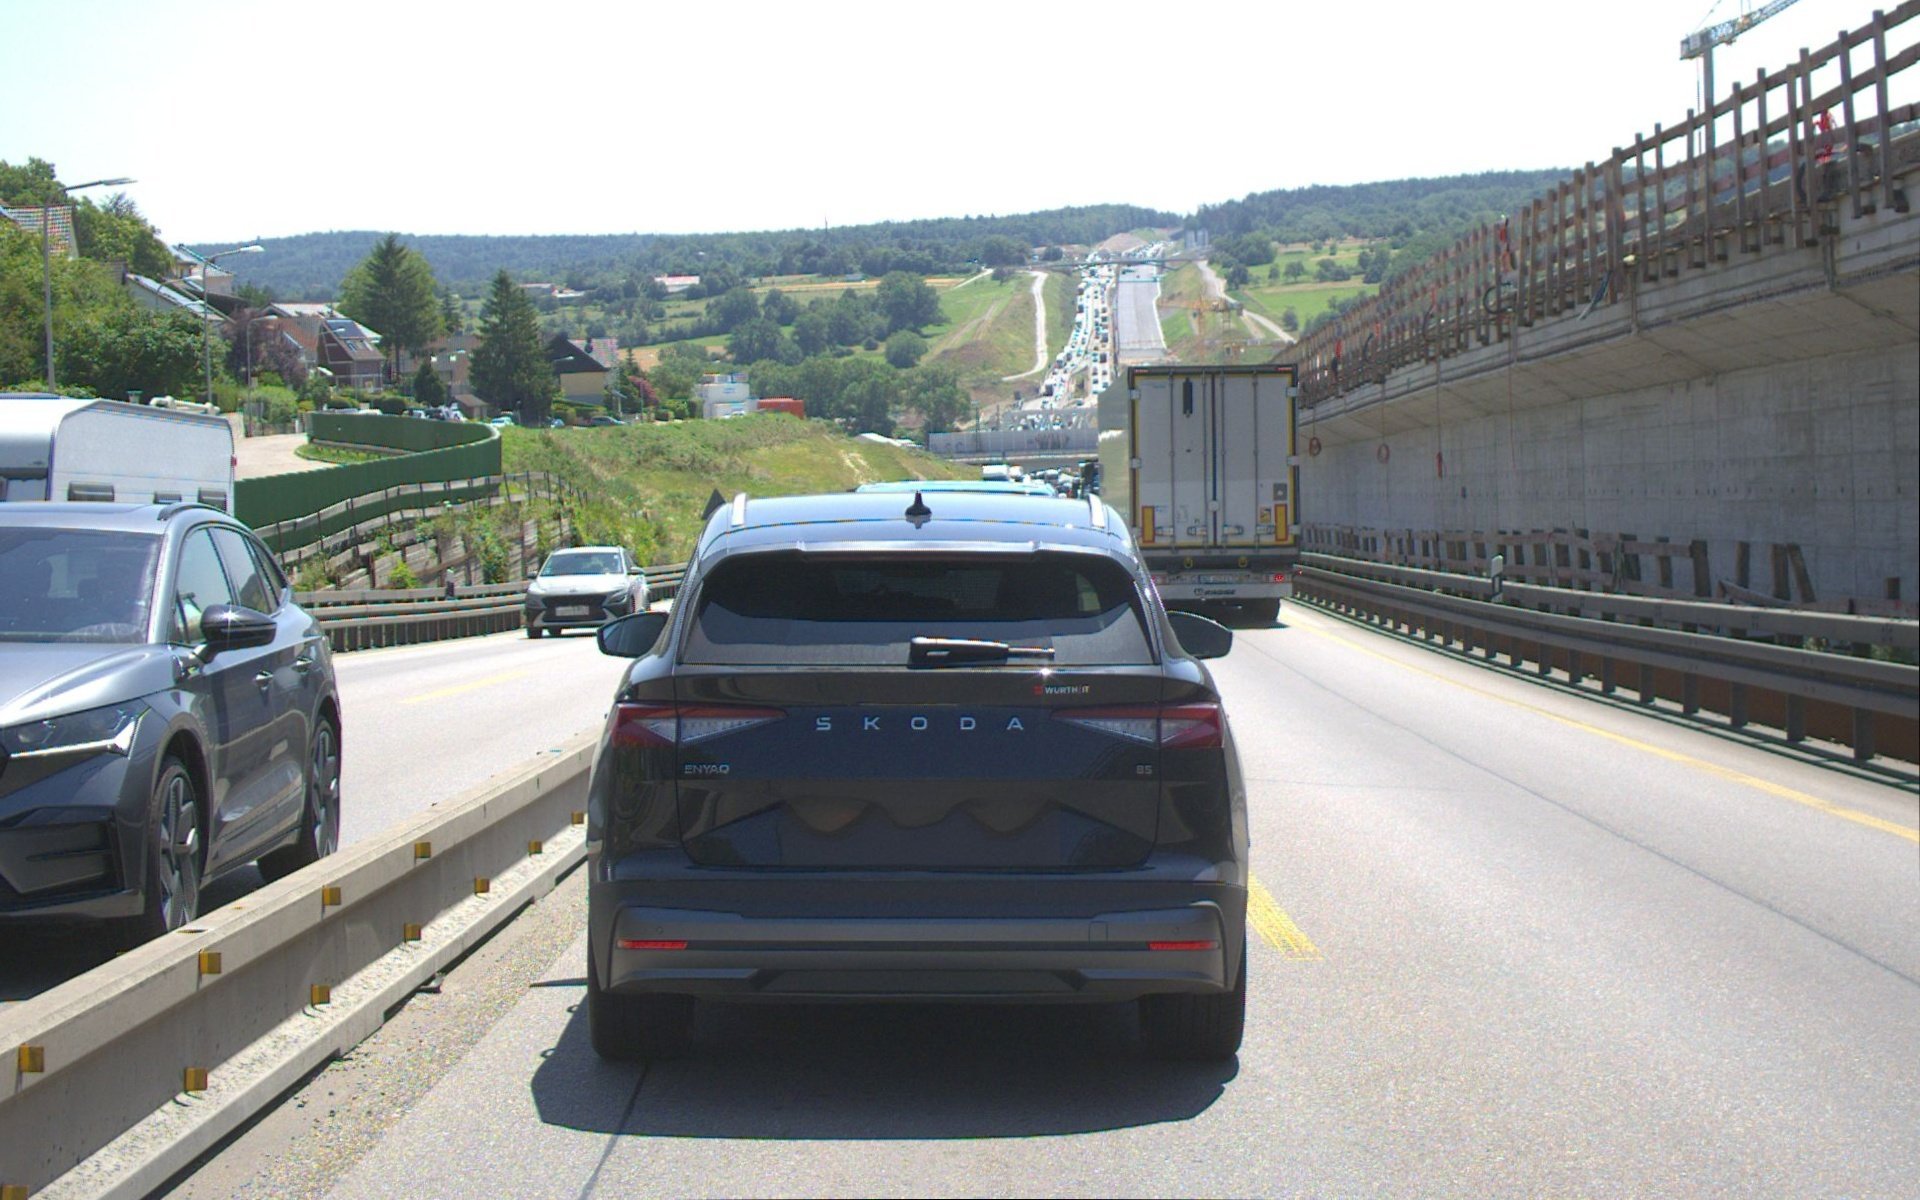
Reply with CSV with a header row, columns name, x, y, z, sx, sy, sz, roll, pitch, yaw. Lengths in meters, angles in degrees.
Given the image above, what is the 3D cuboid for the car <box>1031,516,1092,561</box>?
name,x,y,z,sx,sy,sz,roll,pitch,yaw
car,3.690,-2.225,125.639,1.993,1.579,3.836,0,0,-2

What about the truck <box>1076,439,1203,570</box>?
name,x,y,z,sx,sy,sz,roll,pitch,yaw
truck,4.732,-2.456,92.805,3.195,3.180,12.808,0,0,2

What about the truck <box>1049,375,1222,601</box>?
name,x,y,z,sx,sy,sz,roll,pitch,yaw
truck,3.232,-2.002,65.381,2.513,4.011,8.238,0,0,-2

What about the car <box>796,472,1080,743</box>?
name,x,y,z,sx,sy,sz,roll,pitch,yaw
car,-0.246,-0.003,25.955,1.706,1.875,4.001,0,2,-6

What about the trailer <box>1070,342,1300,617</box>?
name,x,y,z,sx,sy,sz,roll,pitch,yaw
trailer,3.569,-1.815,57.487,2.531,4.113,11.549,0,0,-3

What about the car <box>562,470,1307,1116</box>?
name,x,y,z,sx,sy,sz,roll,pitch,yaw
car,-0.270,0.475,10.454,1.842,1.581,3.908,0,0,-6

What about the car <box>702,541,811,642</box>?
name,x,y,z,sx,sy,sz,roll,pitch,yaw
car,-3.200,-0.128,54.561,1.547,1.543,3.238,0,0,0

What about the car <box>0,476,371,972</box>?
name,x,y,z,sx,sy,sz,roll,pitch,yaw
car,-3.562,0.387,13.206,1.872,1.581,4.479,0,0,-1

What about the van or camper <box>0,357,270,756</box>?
name,x,y,z,sx,sy,sz,roll,pitch,yaw
van or camper,-6.828,-0.288,24.811,2.354,2.507,6.328,0,0,0

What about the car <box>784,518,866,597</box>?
name,x,y,z,sx,sy,sz,roll,pitch,yaw
car,-2.710,-0.849,69.575,1.547,1.543,3.238,0,0,0

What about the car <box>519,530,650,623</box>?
name,x,y,z,sx,sy,sz,roll,pitch,yaw
car,-6.463,-0.393,59.563,1.842,1.538,4.178,0,0,-1
